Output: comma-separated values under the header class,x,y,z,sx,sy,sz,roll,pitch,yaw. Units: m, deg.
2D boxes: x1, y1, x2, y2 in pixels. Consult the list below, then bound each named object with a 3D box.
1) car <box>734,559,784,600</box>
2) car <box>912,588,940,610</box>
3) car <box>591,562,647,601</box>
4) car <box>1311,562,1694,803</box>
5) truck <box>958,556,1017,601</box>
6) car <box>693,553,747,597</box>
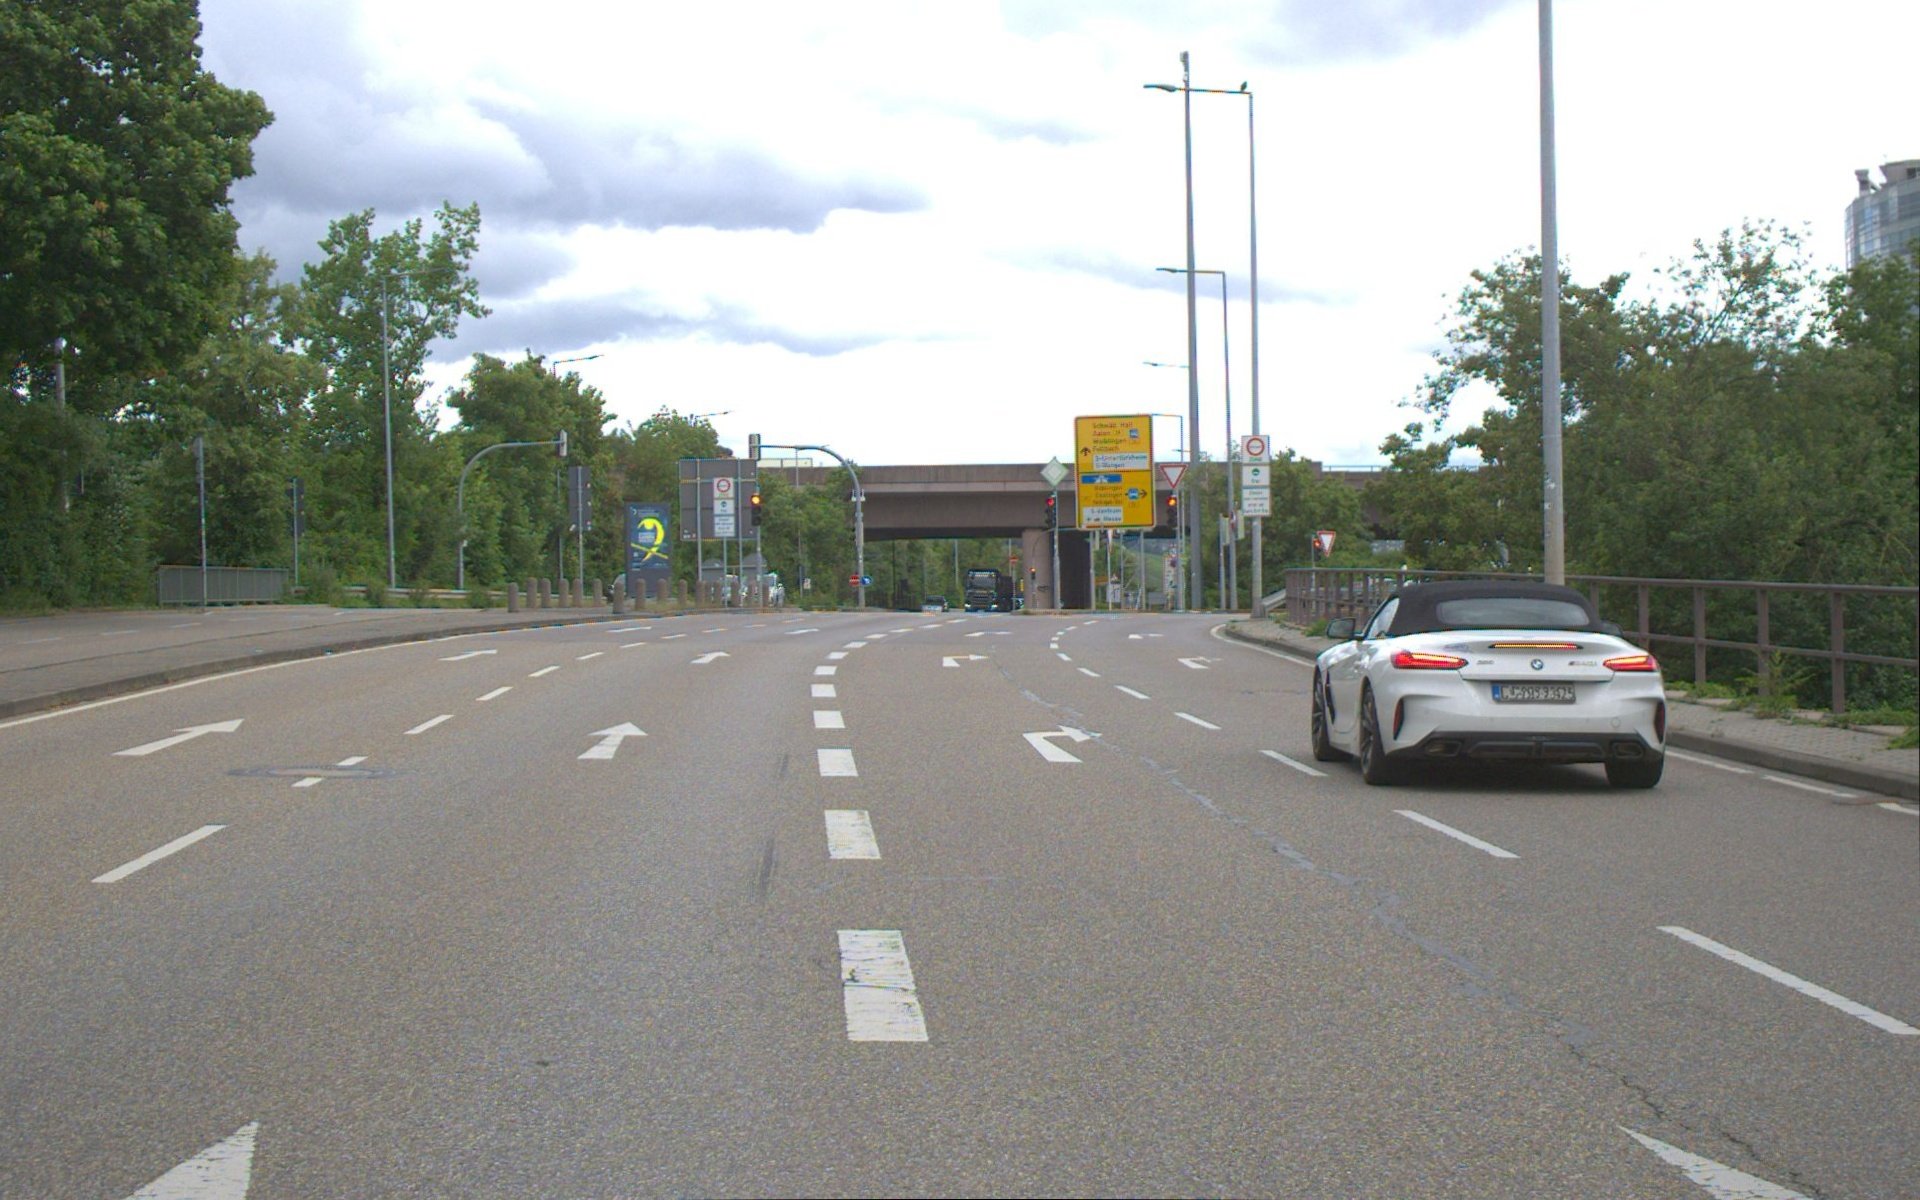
class,x,y,z,sx,sy,sz,roll,pitch,yaw
car,-8.326,-0.843,142.671,1.771,1.627,3.824,1,0,1
car,-2.474,-0.113,250.661,1.741,1.532,3.671,1,1,5
car,-13.279,-0.723,133.968,1.760,1.479,3.484,2,0,1
car,3.488,0.478,22.775,1.875,1.304,3.873,2,2,0
truck,2.059,-1.570,255.520,2.925,3.135,10.107,1,0,9
car,-9.409,-0.974,135.020,1.771,1.639,3.824,1,0,1
